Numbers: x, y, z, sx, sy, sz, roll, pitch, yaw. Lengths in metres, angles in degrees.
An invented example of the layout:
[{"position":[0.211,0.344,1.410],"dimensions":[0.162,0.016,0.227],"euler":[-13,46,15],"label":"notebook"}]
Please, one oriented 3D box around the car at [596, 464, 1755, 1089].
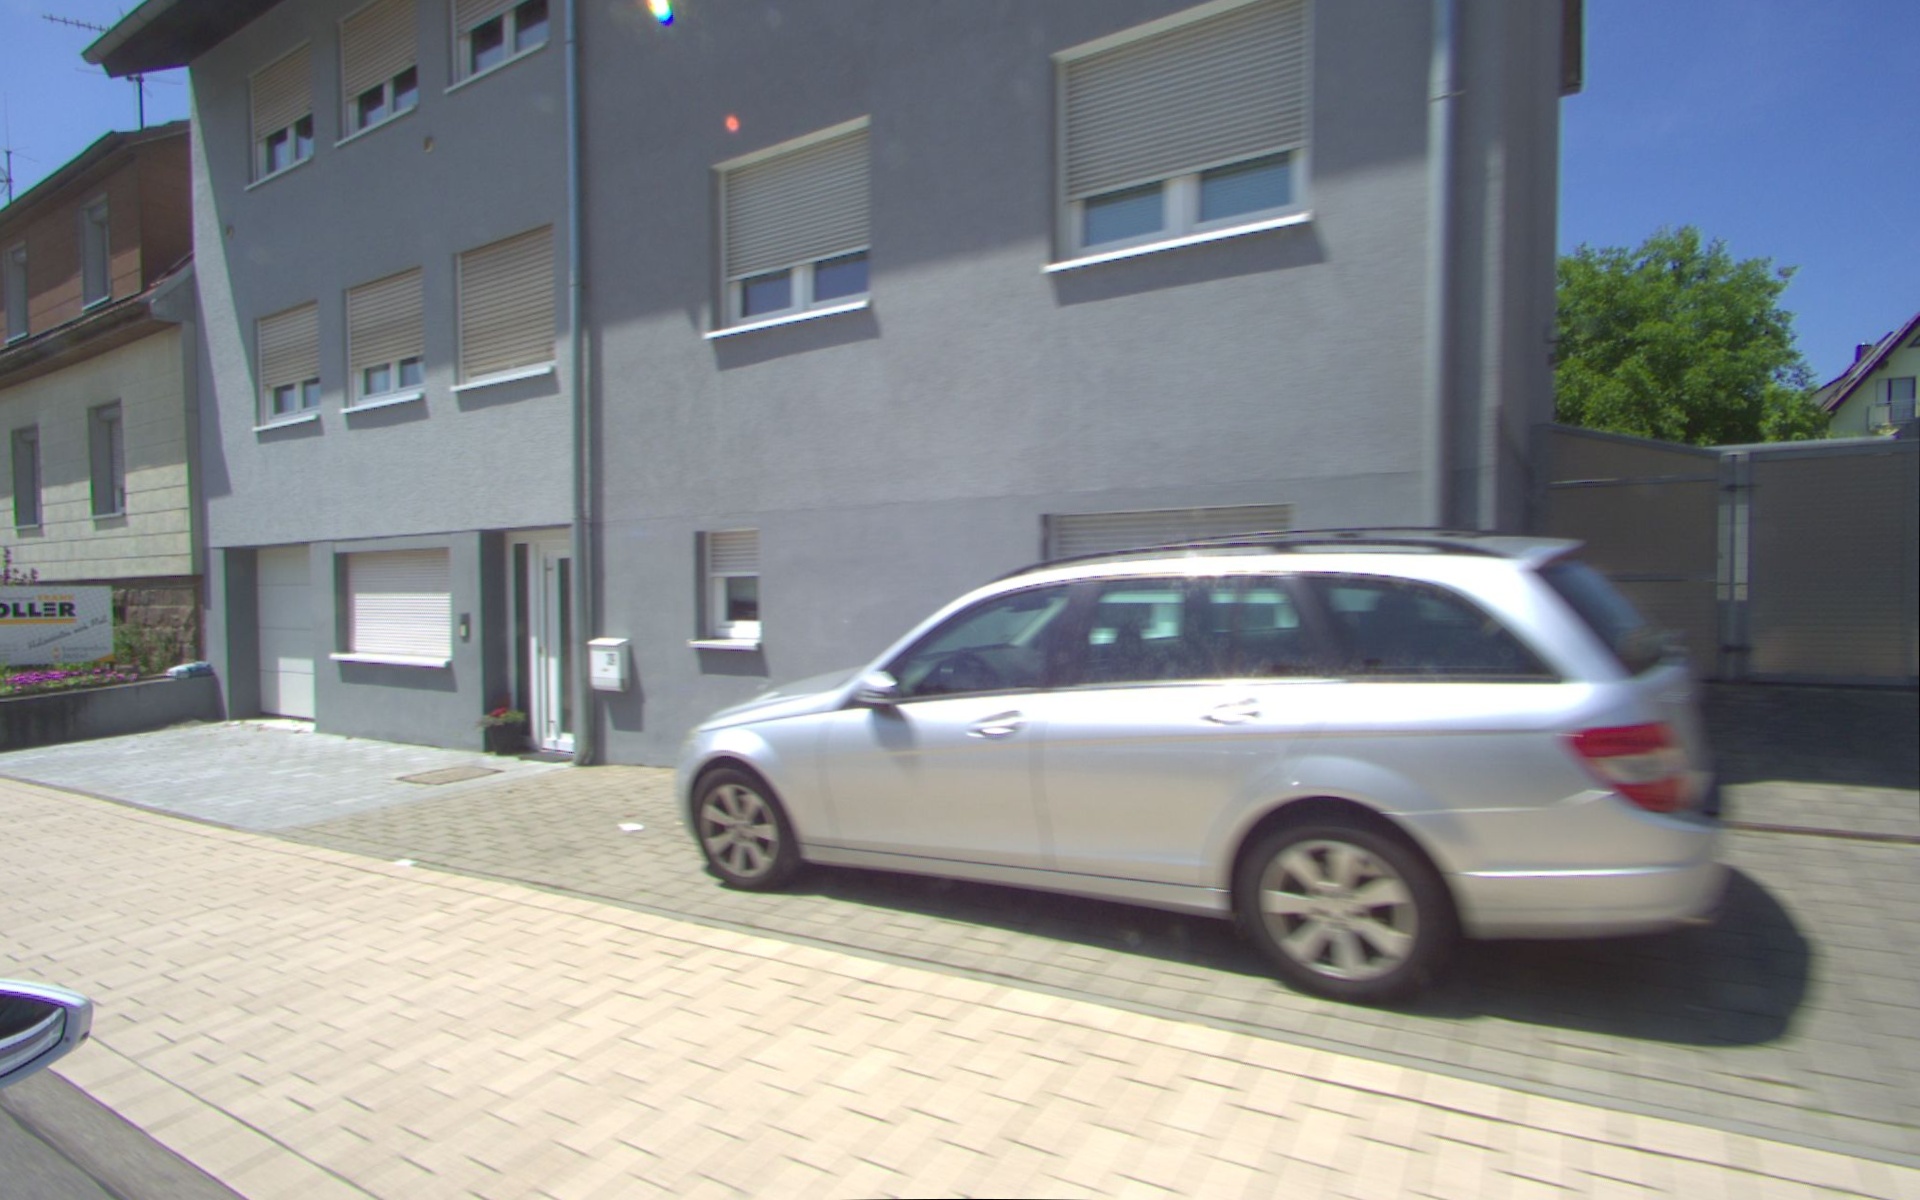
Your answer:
[{"position":[0.590,0.399,4.453],"dimensions":[4.457,1.563,1.784],"euler":[-1,5,34],"label":"car"}]
